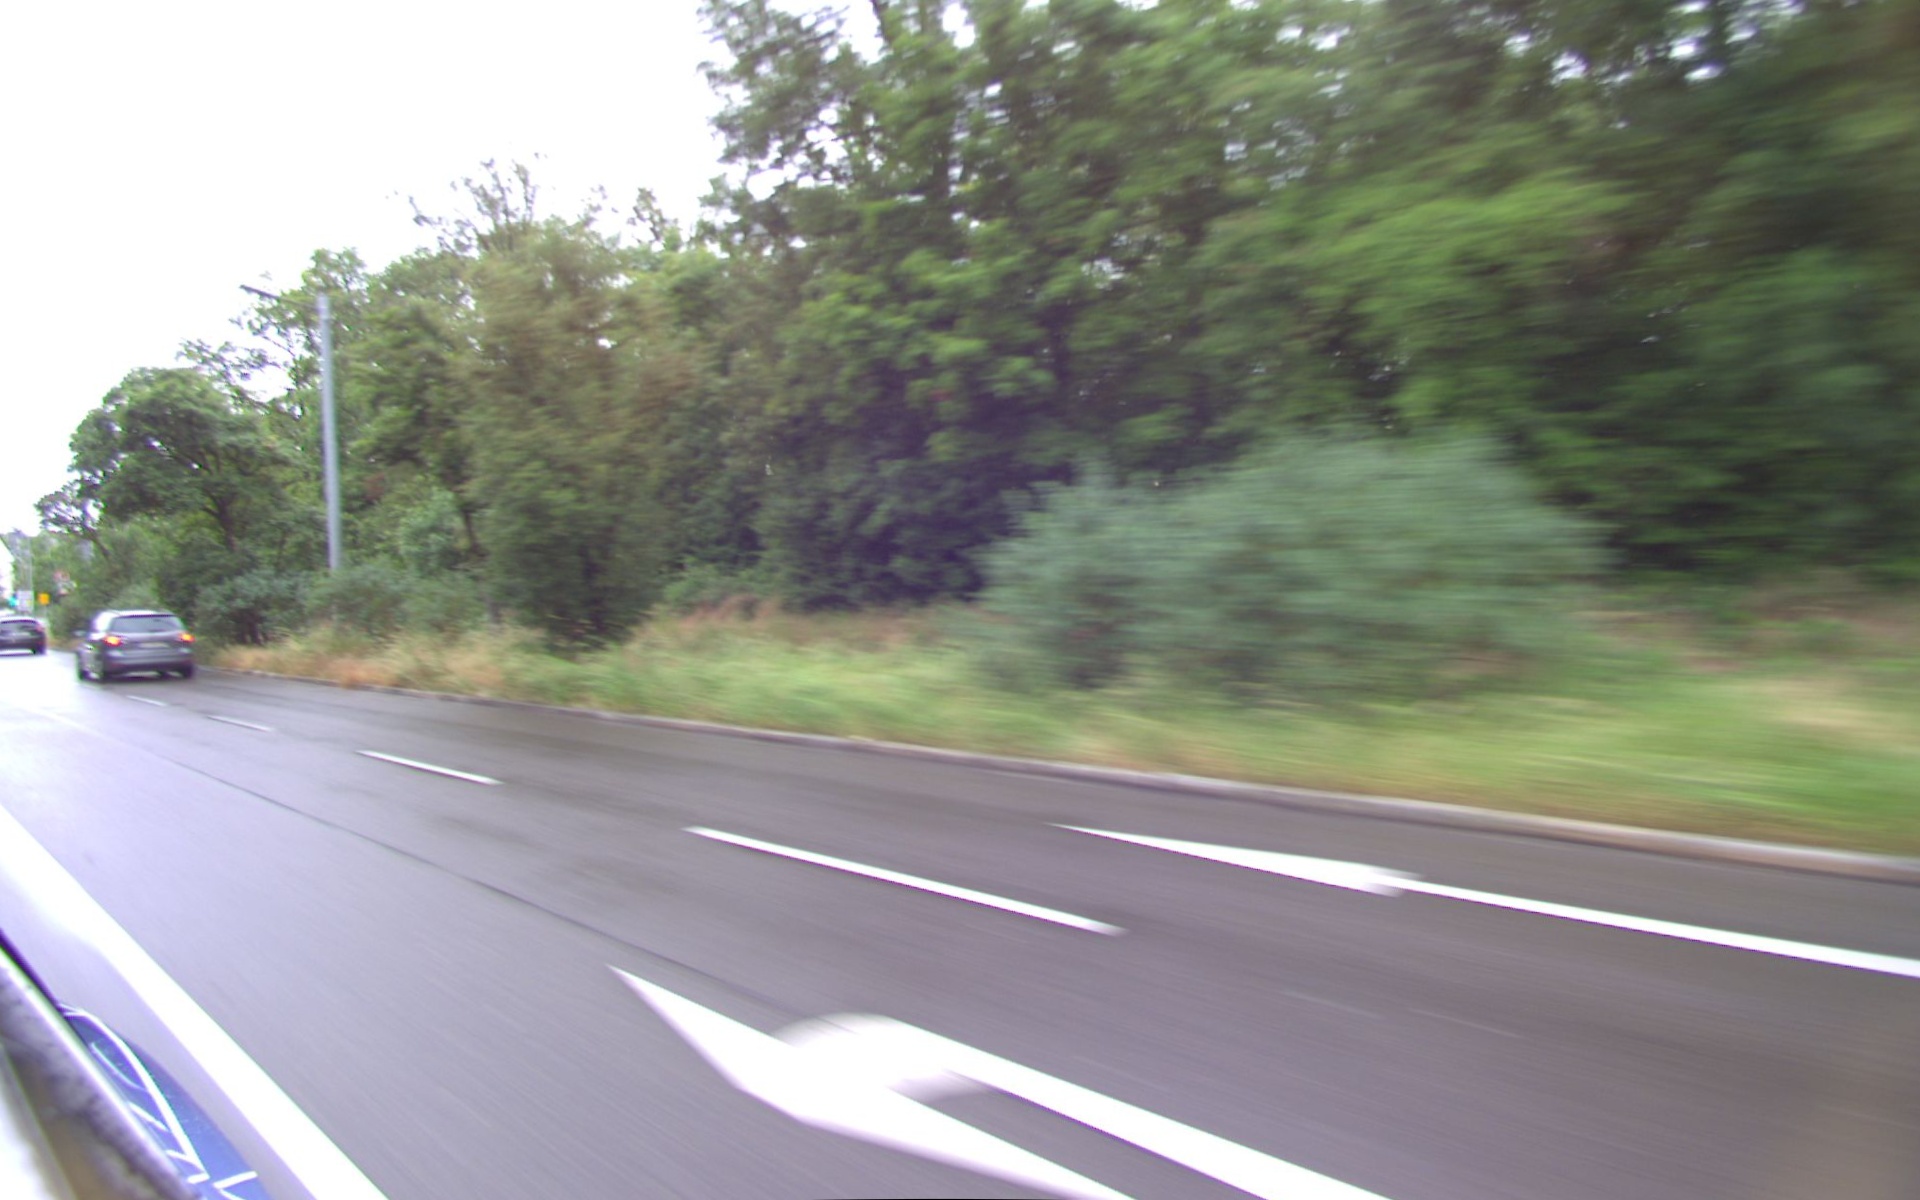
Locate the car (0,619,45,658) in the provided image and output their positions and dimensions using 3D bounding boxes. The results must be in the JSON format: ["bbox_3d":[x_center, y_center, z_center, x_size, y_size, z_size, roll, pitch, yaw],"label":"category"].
[{"bbox_3d":[-37.637,1.510,40.076,3.988,1.452,1.582,-2,-1,41],"label":"car"}]

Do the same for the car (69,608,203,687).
[{"bbox_3d":[-19.224,1.046,23.556,4.082,1.622,1.753,-1,0,42],"label":"car"}]
